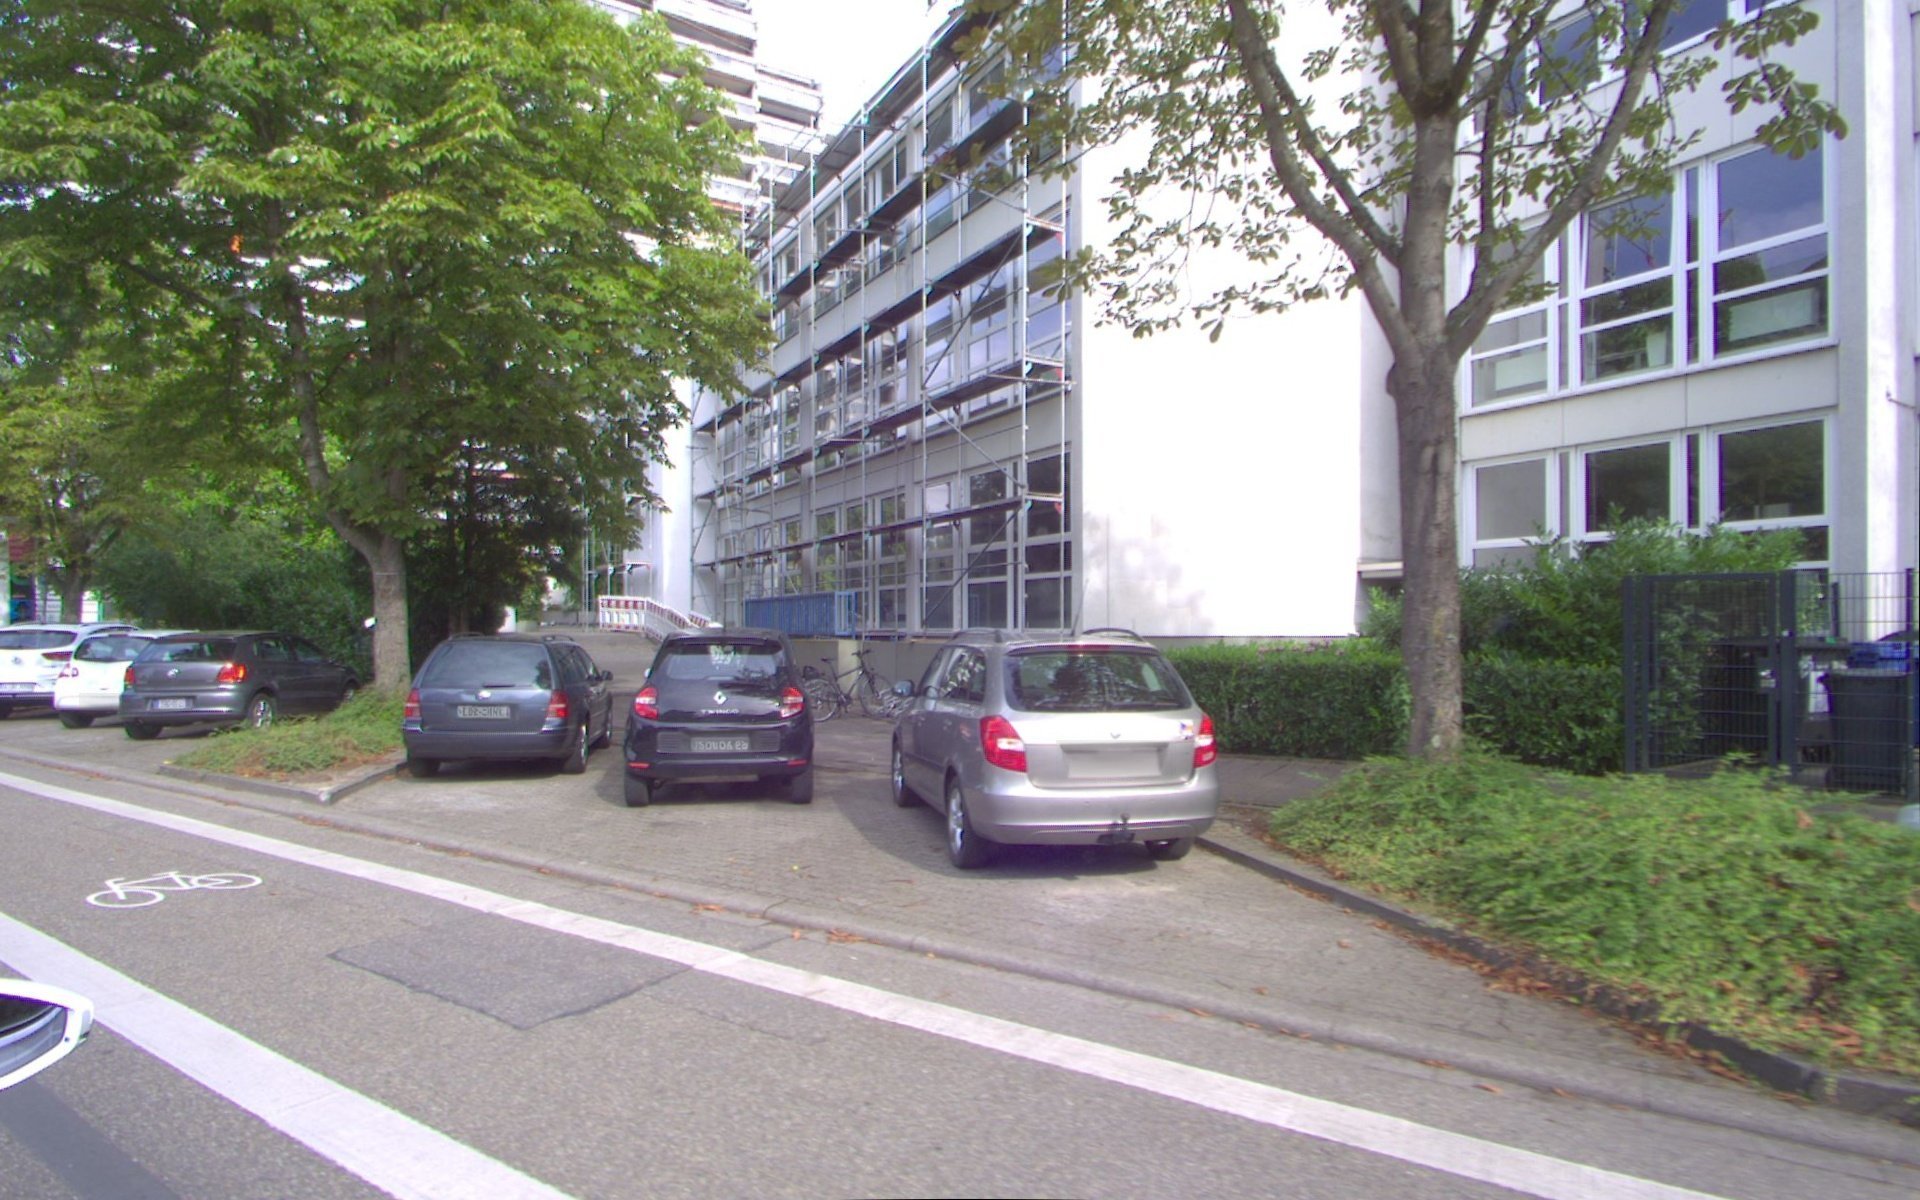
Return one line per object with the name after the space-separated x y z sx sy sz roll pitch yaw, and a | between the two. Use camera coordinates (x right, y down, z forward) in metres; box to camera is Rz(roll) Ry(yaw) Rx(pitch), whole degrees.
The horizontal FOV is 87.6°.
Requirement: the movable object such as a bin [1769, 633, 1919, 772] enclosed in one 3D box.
9.710 1.071 10.954 1.050 1.409 1.111 1 -1 -36 | movable object such as a bin

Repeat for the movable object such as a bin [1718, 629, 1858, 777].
8.548 1.019 10.343 1.012 1.425 0.906 1 -1 -36 | movable object such as a bin

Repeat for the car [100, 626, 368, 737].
-10.614 1.127 14.998 1.650 1.437 3.647 0 -2 -6 | car

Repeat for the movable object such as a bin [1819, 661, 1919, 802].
7.929 1.106 8.652 0.734 1.119 0.781 -1 -1 38 | movable object such as a bin

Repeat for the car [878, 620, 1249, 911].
0.445 0.963 7.535 1.566 1.557 4.050 1 -2 -13 | car

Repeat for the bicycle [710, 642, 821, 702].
-3.623 1.314 18.675 1.949 1.057 0.592 1 -1 -30 | bicycle

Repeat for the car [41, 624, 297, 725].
-12.950 1.159 16.704 1.650 1.493 3.647 0 -2 -6 | car

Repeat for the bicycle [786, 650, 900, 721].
-1.890 1.376 16.317 1.813 1.057 0.451 0 0 -29 | bicycle

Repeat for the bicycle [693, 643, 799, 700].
-4.142 1.364 19.410 1.944 1.057 0.593 1 -1 -20 | bicycle

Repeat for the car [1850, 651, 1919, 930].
6.035 0.939 3.727 1.604 1.411 3.858 1 -2 -13 | car

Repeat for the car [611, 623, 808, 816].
-2.344 1.021 9.915 1.566 1.557 3.416 0 -2 -10 | car

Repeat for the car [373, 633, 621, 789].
-5.046 1.099 11.516 1.783 1.433 4.167 0 -2 -13 | car

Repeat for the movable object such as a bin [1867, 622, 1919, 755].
12.041 1.071 12.265 1.160 1.588 1.171 1 -1 -36 | movable object such as a bin

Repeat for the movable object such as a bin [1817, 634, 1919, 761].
10.856 1.097 11.606 1.160 1.388 1.171 1 -1 -36 | movable object such as a bin

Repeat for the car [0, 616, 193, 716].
-15.805 1.129 18.121 1.651 1.623 3.644 0 -2 -12 | car
